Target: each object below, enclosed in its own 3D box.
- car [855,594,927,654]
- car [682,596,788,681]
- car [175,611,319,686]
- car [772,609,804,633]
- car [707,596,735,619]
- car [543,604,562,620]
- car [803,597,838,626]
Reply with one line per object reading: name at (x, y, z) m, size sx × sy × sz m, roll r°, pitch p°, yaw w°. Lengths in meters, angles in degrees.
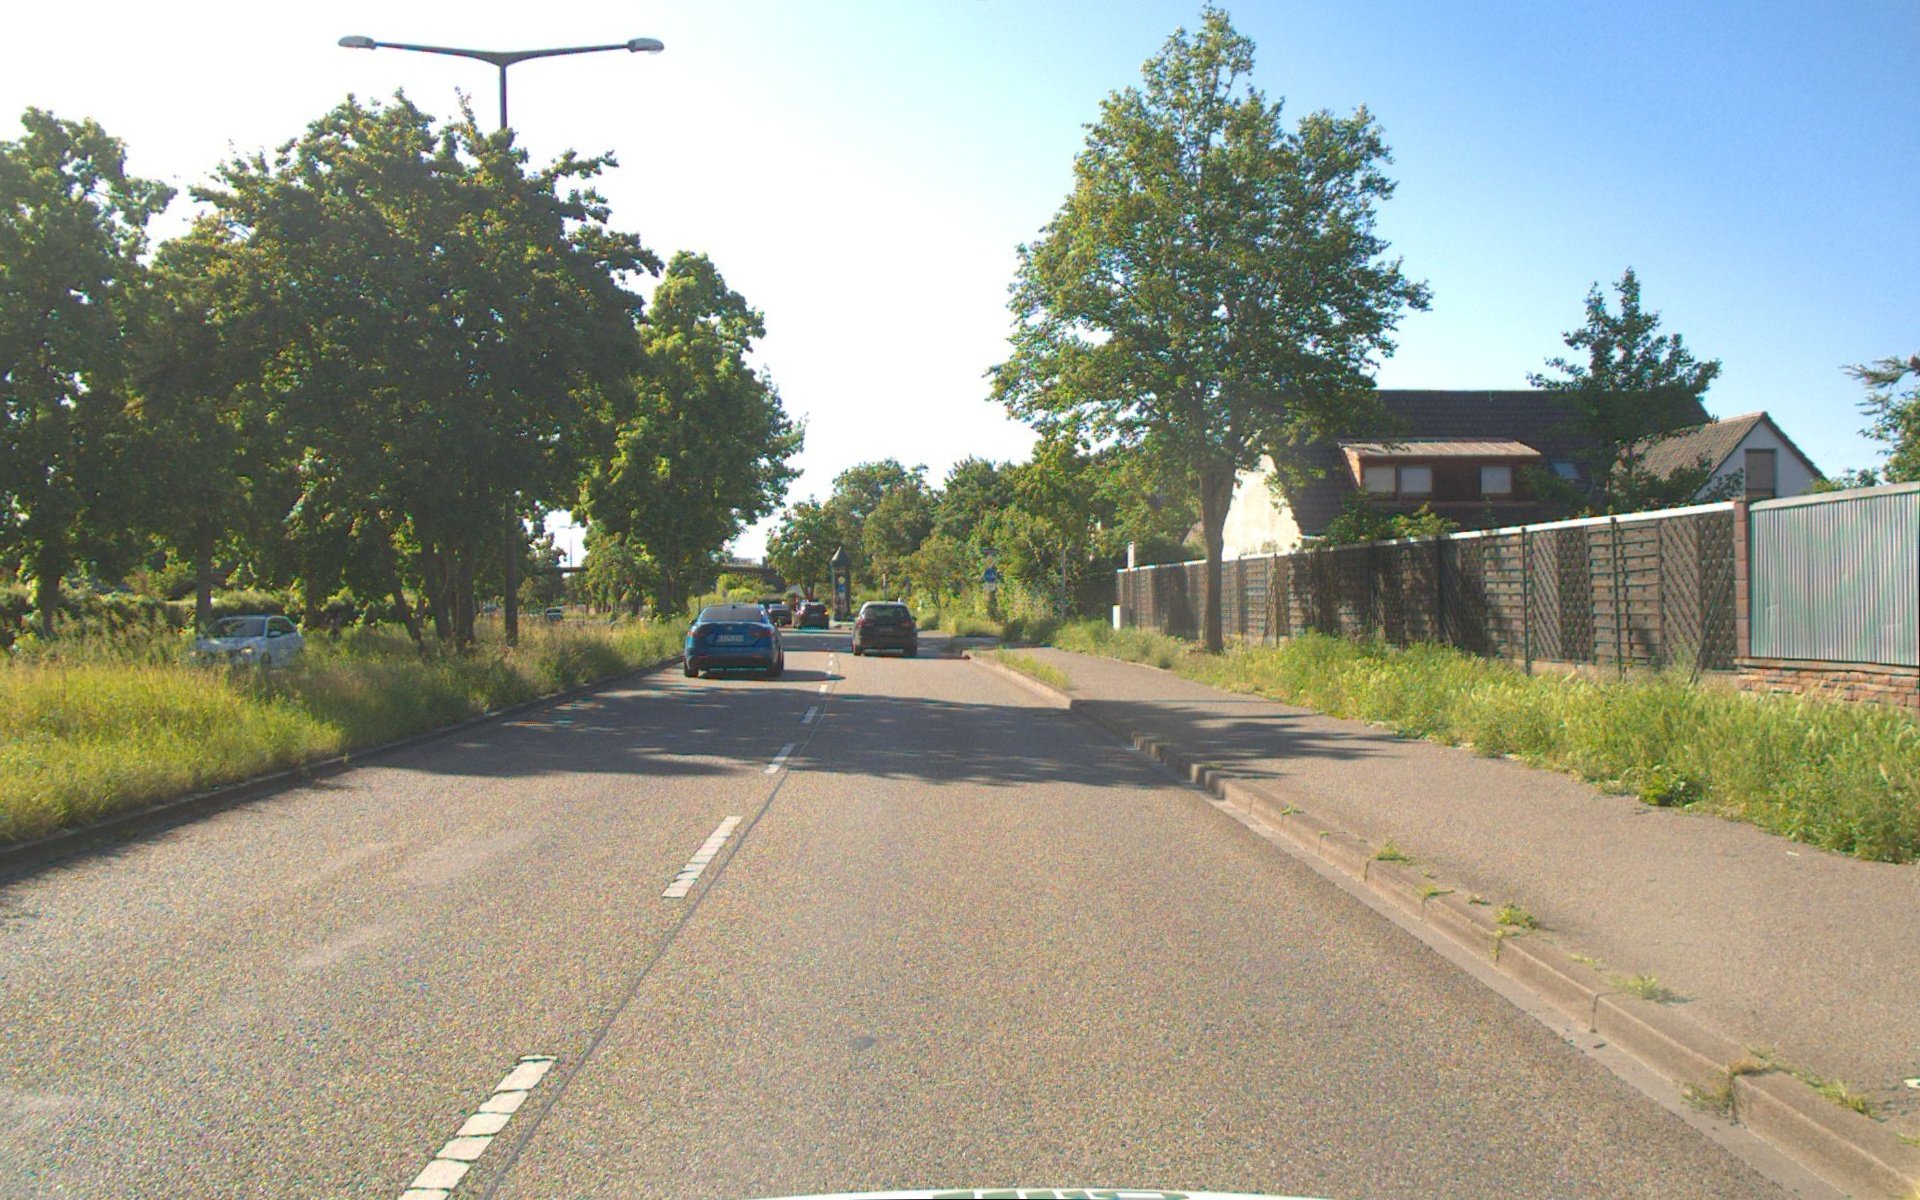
car at (-2.001, 0.648, 46.685) m, size 1.878 × 1.607 × 4.178 m, roll 0°, pitch 0°, yaw -4°
car at (-4.448, 0.724, 33.198) m, size 1.802 × 1.500 × 4.181 m, roll -1°, pitch 1°, yaw -4°
car at (-16.536, 1.081, 38.569) m, size 1.637 × 1.493 × 4.177 m, roll -3°, pitch 0°, yaw -3°
car at (-12.311, 1.479, 118.203) m, size 1.882 × 1.707 × 4.000 m, roll 0°, pitch 0°, yaw -12°
car at (-16.660, 0.526, 115.409) m, size 1.879 × 1.538 × 4.060 m, roll -1°, pitch 0°, yaw -8°
car at (-38.918, 1.154, 157.923) m, size 1.641 × 1.493 × 3.770 m, roll 0°, pitch 0°, yaw -13°
car at (-7.980, 0.637, 94.459) m, size 1.879 × 1.607 × 4.176 m, roll 0°, pitch 0°, yaw -7°
